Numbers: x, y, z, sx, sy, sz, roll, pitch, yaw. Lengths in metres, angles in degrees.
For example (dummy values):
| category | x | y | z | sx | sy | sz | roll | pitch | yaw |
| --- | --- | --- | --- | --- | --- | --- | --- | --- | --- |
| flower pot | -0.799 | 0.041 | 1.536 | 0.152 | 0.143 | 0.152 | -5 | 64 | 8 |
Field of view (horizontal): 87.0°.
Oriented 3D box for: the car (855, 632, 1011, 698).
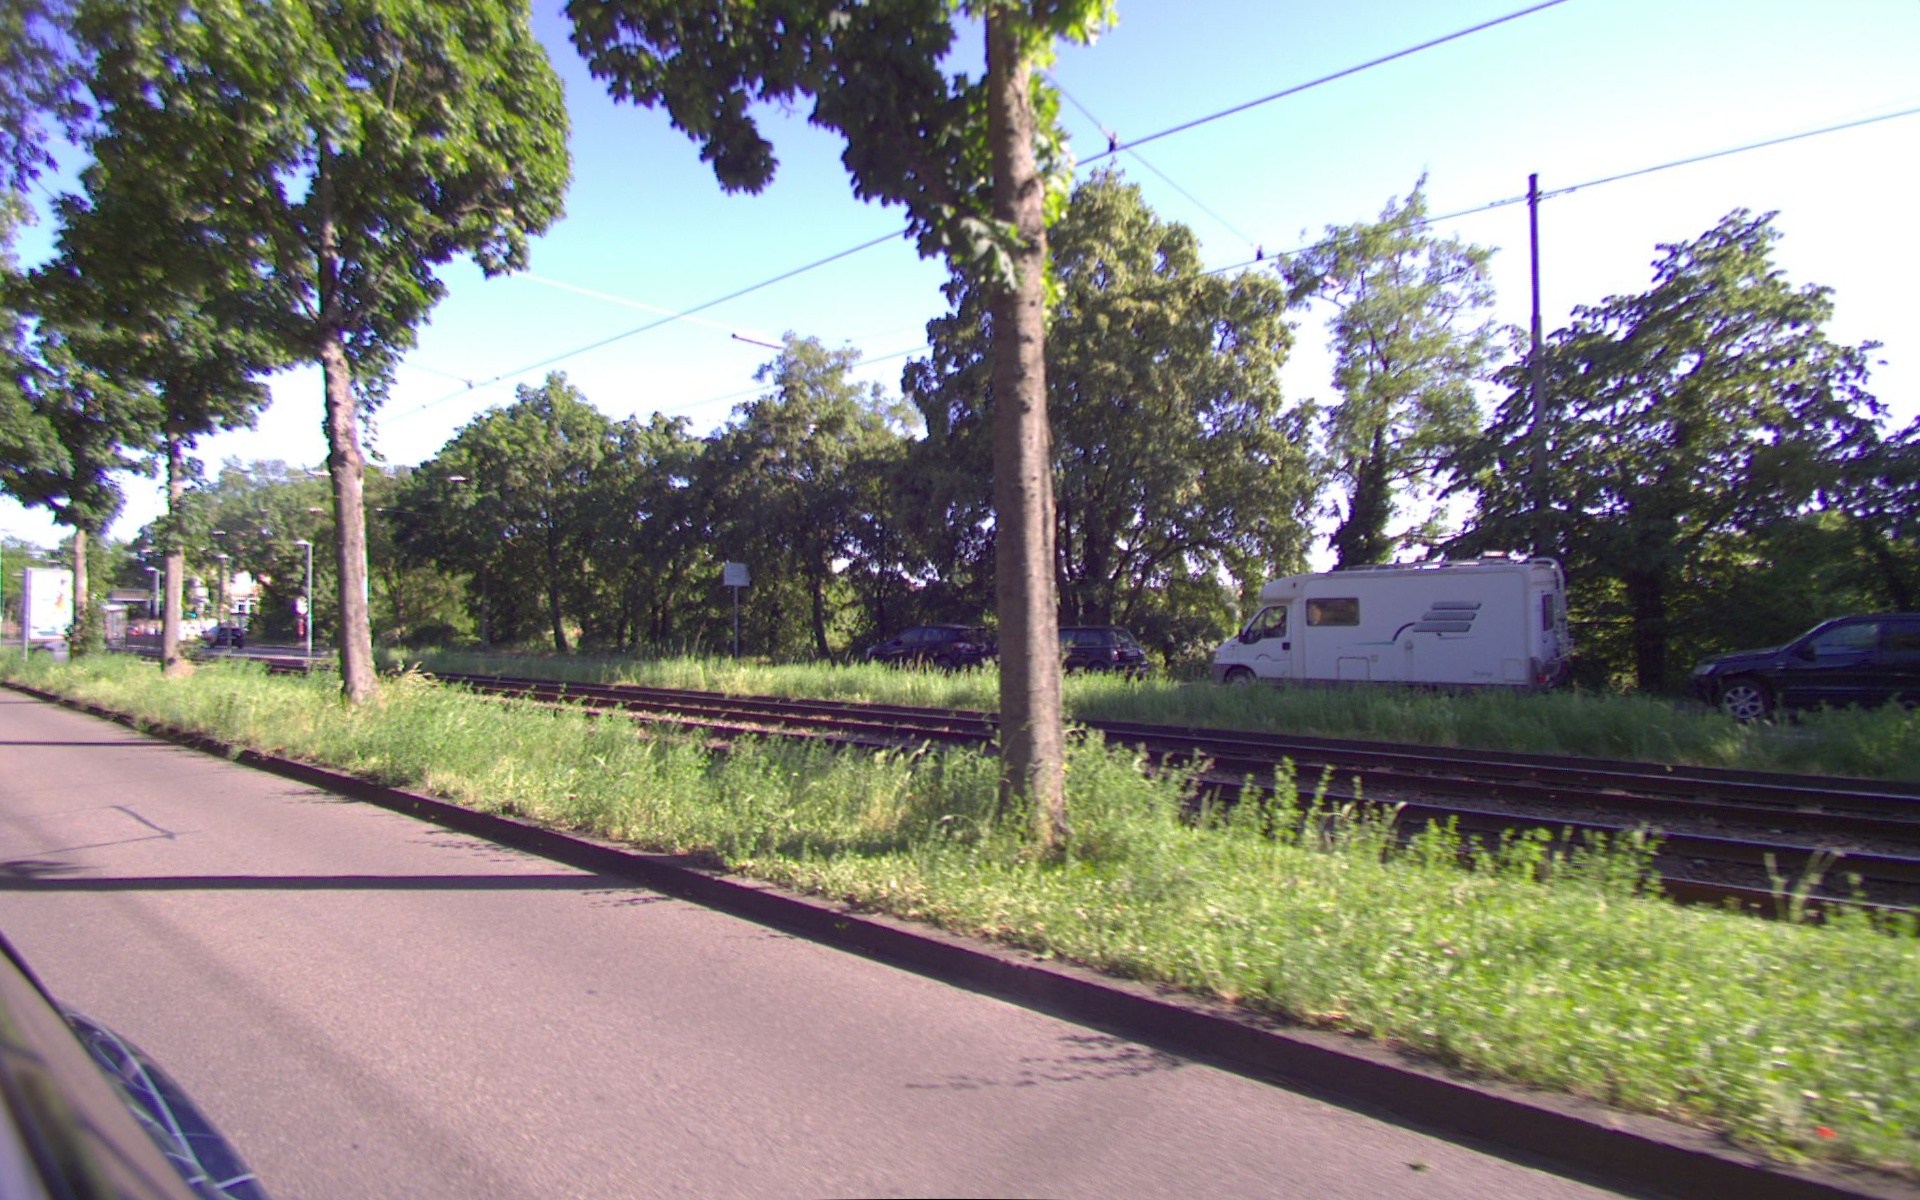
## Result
| category | x | y | z | sx | sy | sz | roll | pitch | yaw |
| --- | --- | --- | --- | --- | --- | --- | --- | --- | --- |
| car | -0.802 | 1.720 | 27.849 | 4.282 | 1.575 | 1.748 | -1 | 0 | 43 |

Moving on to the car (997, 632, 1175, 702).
| category | x | y | z | sx | sy | sz | roll | pitch | yaw |
| --- | --- | --- | --- | --- | --- | --- | --- | --- | --- |
| car | 2.974 | 1.542 | 24.396 | 3.999 | 1.445 | 1.692 | -1 | 1 | 42 |

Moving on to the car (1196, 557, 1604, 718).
| category | x | y | z | sx | sy | sz | roll | pitch | yaw |
| --- | --- | --- | --- | --- | --- | --- | --- | --- | --- |
| car | 8.180 | 0.666 | 19.462 | 6.795 | 2.600 | 2.203 | -2 | 0 | 41 |

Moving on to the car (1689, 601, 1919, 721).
| category | x | y | z | sx | sy | sz | roll | pitch | yaw |
| --- | --- | --- | --- | --- | --- | --- | --- | --- | --- |
| car | 13.659 | 0.862 | 14.979 | 4.530 | 1.635 | 1.606 | -1 | 1 | 41 |

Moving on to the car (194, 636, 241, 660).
| category | x | y | z | sx | sy | sz | roll | pitch | yaw |
| --- | --- | --- | --- | --- | --- | --- | --- | --- | --- |
| car | -49.732 | 3.226 | 67.789 | 4.591 | 1.506 | 1.619 | -1 | -3 | 42 |
